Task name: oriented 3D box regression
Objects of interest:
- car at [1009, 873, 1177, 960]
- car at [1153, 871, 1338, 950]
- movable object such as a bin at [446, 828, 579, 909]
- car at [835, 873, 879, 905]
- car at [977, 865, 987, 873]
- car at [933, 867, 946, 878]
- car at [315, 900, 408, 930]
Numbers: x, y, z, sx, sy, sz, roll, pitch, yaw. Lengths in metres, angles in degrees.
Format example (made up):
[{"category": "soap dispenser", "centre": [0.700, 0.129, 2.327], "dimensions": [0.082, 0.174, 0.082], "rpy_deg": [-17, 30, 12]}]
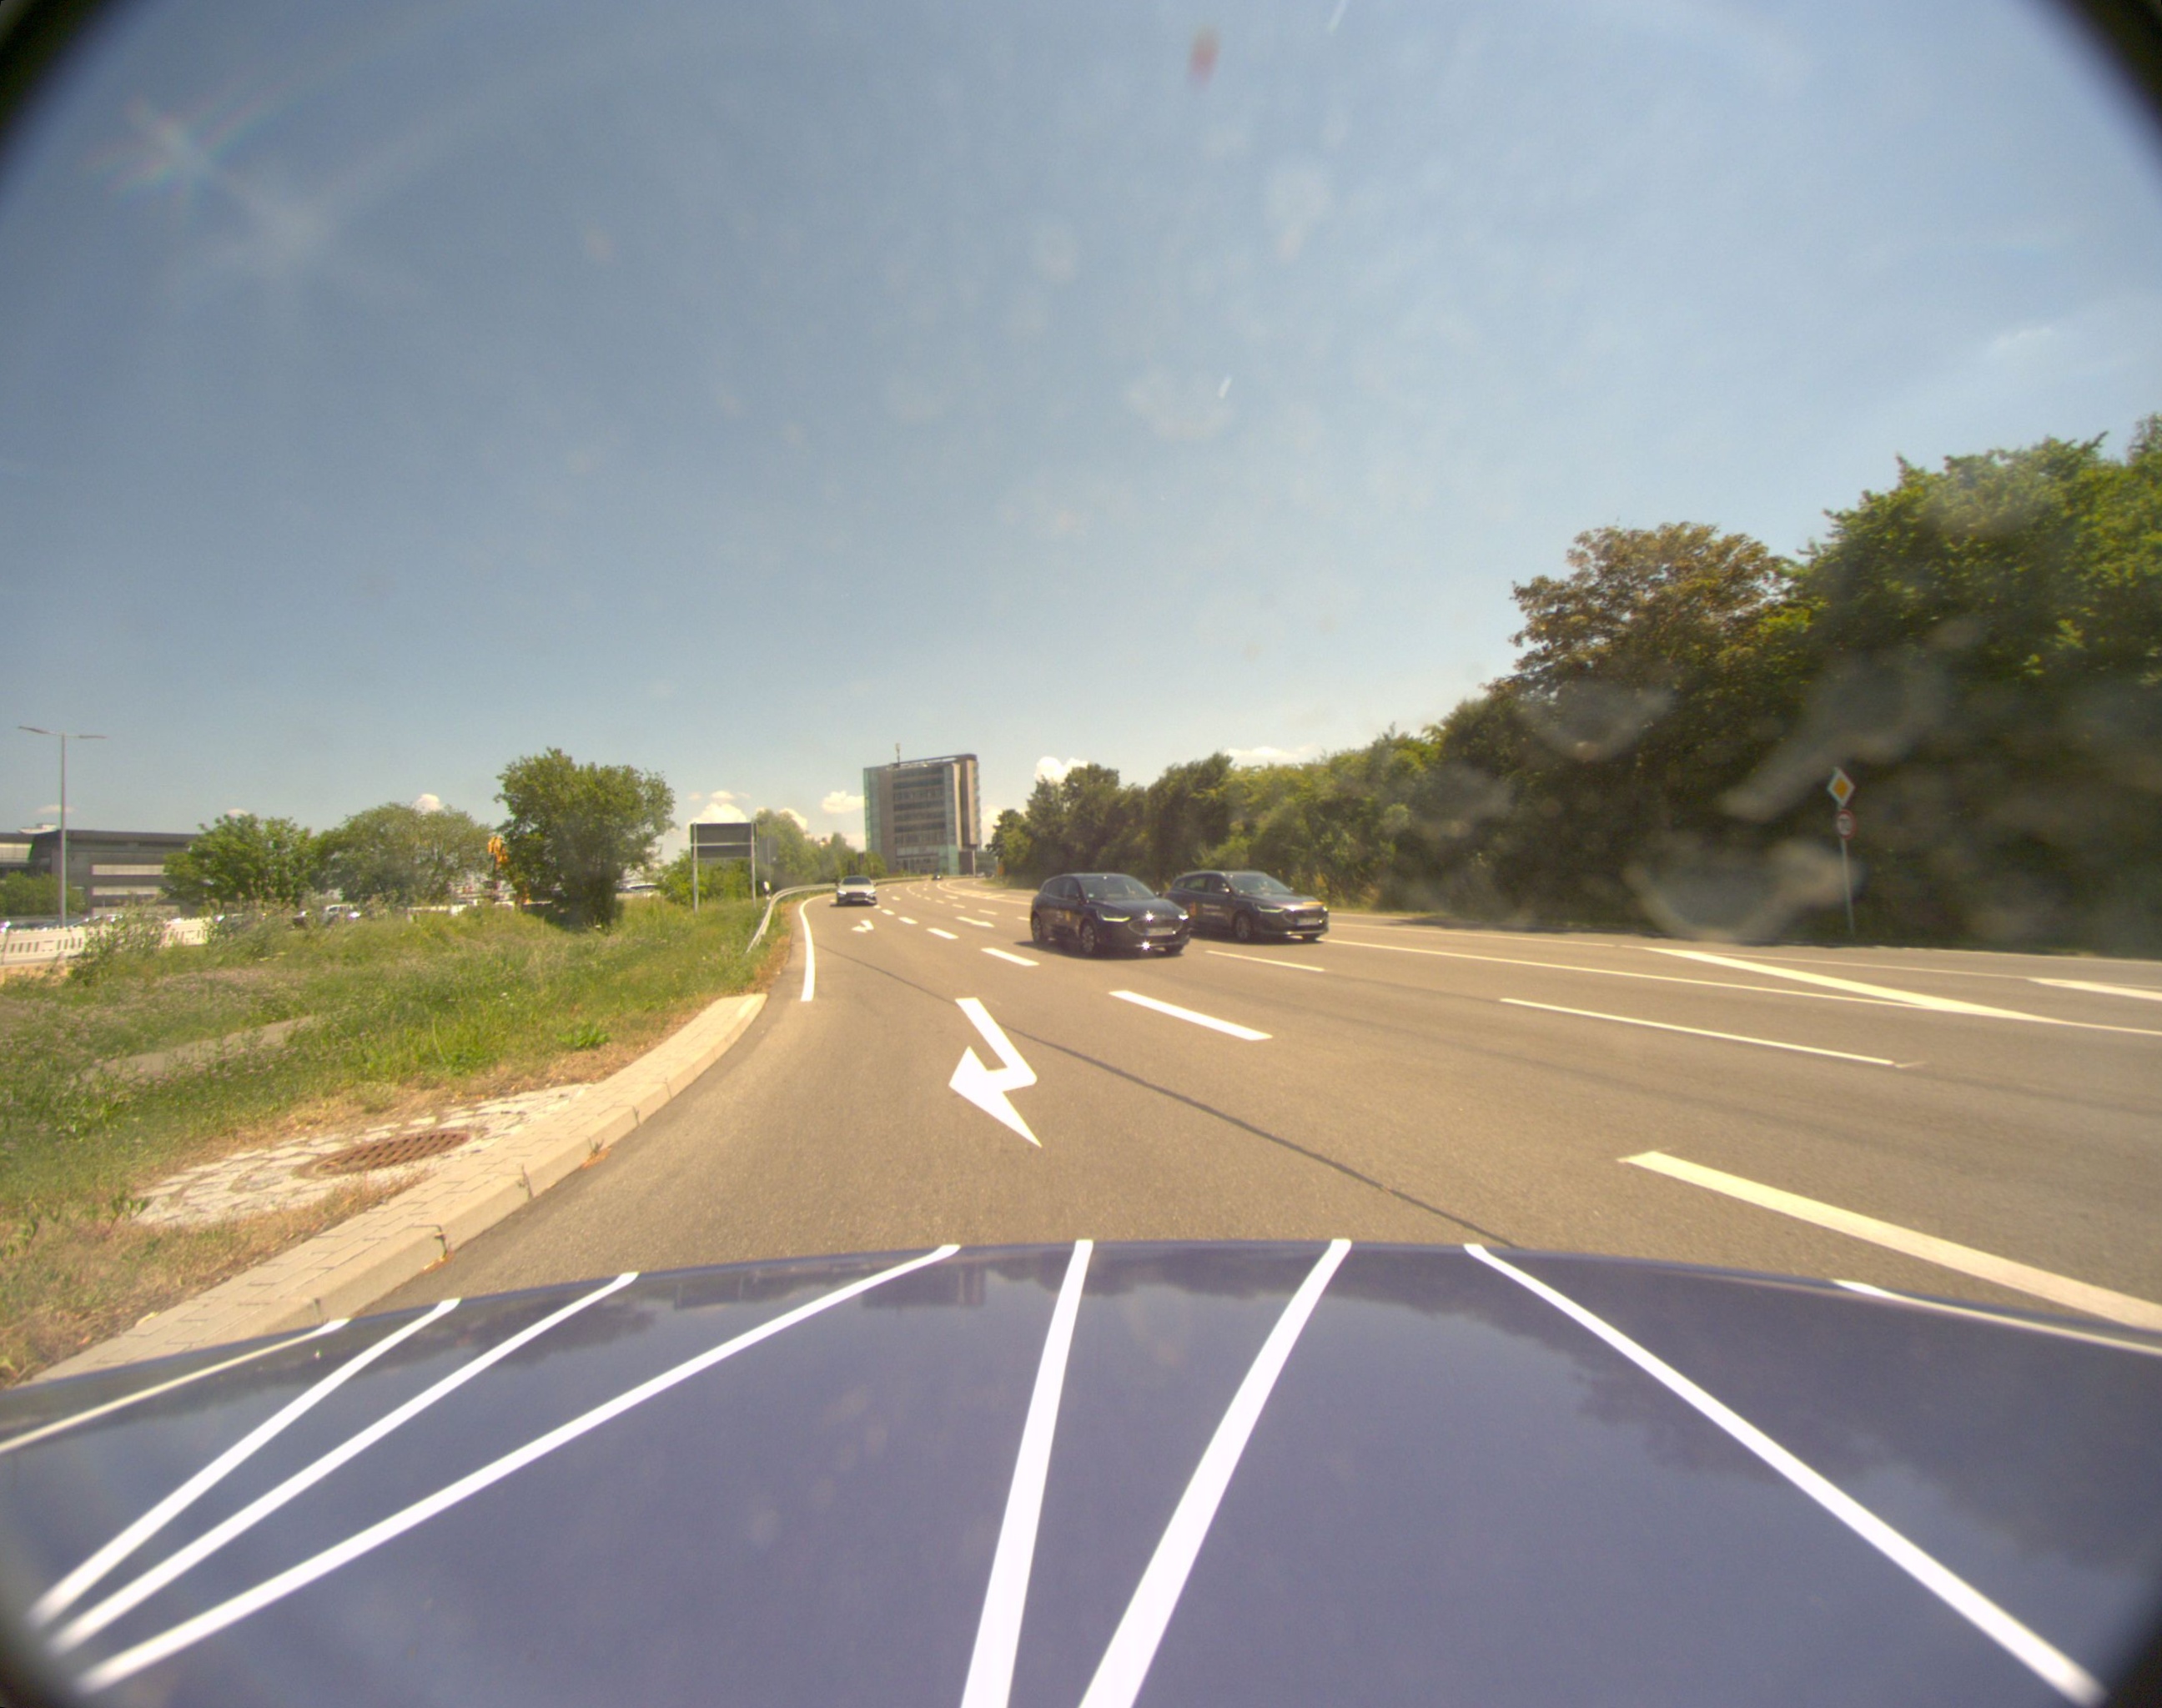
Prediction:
[{"category": "car", "centre": [0.059, 1.132, 15.190], "dimensions": [1.741, 1.433, 4.291], "rpy_deg": [-1, -1, -23]}, {"category": "car", "centre": [3.404, 1.153, 16.655], "dimensions": [1.741, 1.433, 4.386], "rpy_deg": [-1, -2, -22]}, {"category": "movable object such as a bin", "centre": [-31.127, 0.721, 42.093], "dimensions": [2.989, 4.021, 8.094], "rpy_deg": [-1, 0, -15]}, {"category": "car", "centre": [-10.932, 1.661, 37.189], "dimensions": [1.924, 1.433, 4.476], "rpy_deg": [0, -2, -16]}, {"category": "car", "centre": [-24.804, 3.737, 189.914], "dimensions": [1.999, 2.002, 3.999], "rpy_deg": [-1, 0, -2]}, {"category": "car", "centre": [-26.279, 3.401, 140.942], "dimensions": [2.001, 2.002, 3.995], "rpy_deg": [-1, 0, -15]}, {"category": "car", "centre": [-46.988, 3.929, 49.755], "dimensions": [1.997, 1.630, 4.002], "rpy_deg": [-1, 0, 9]}]
